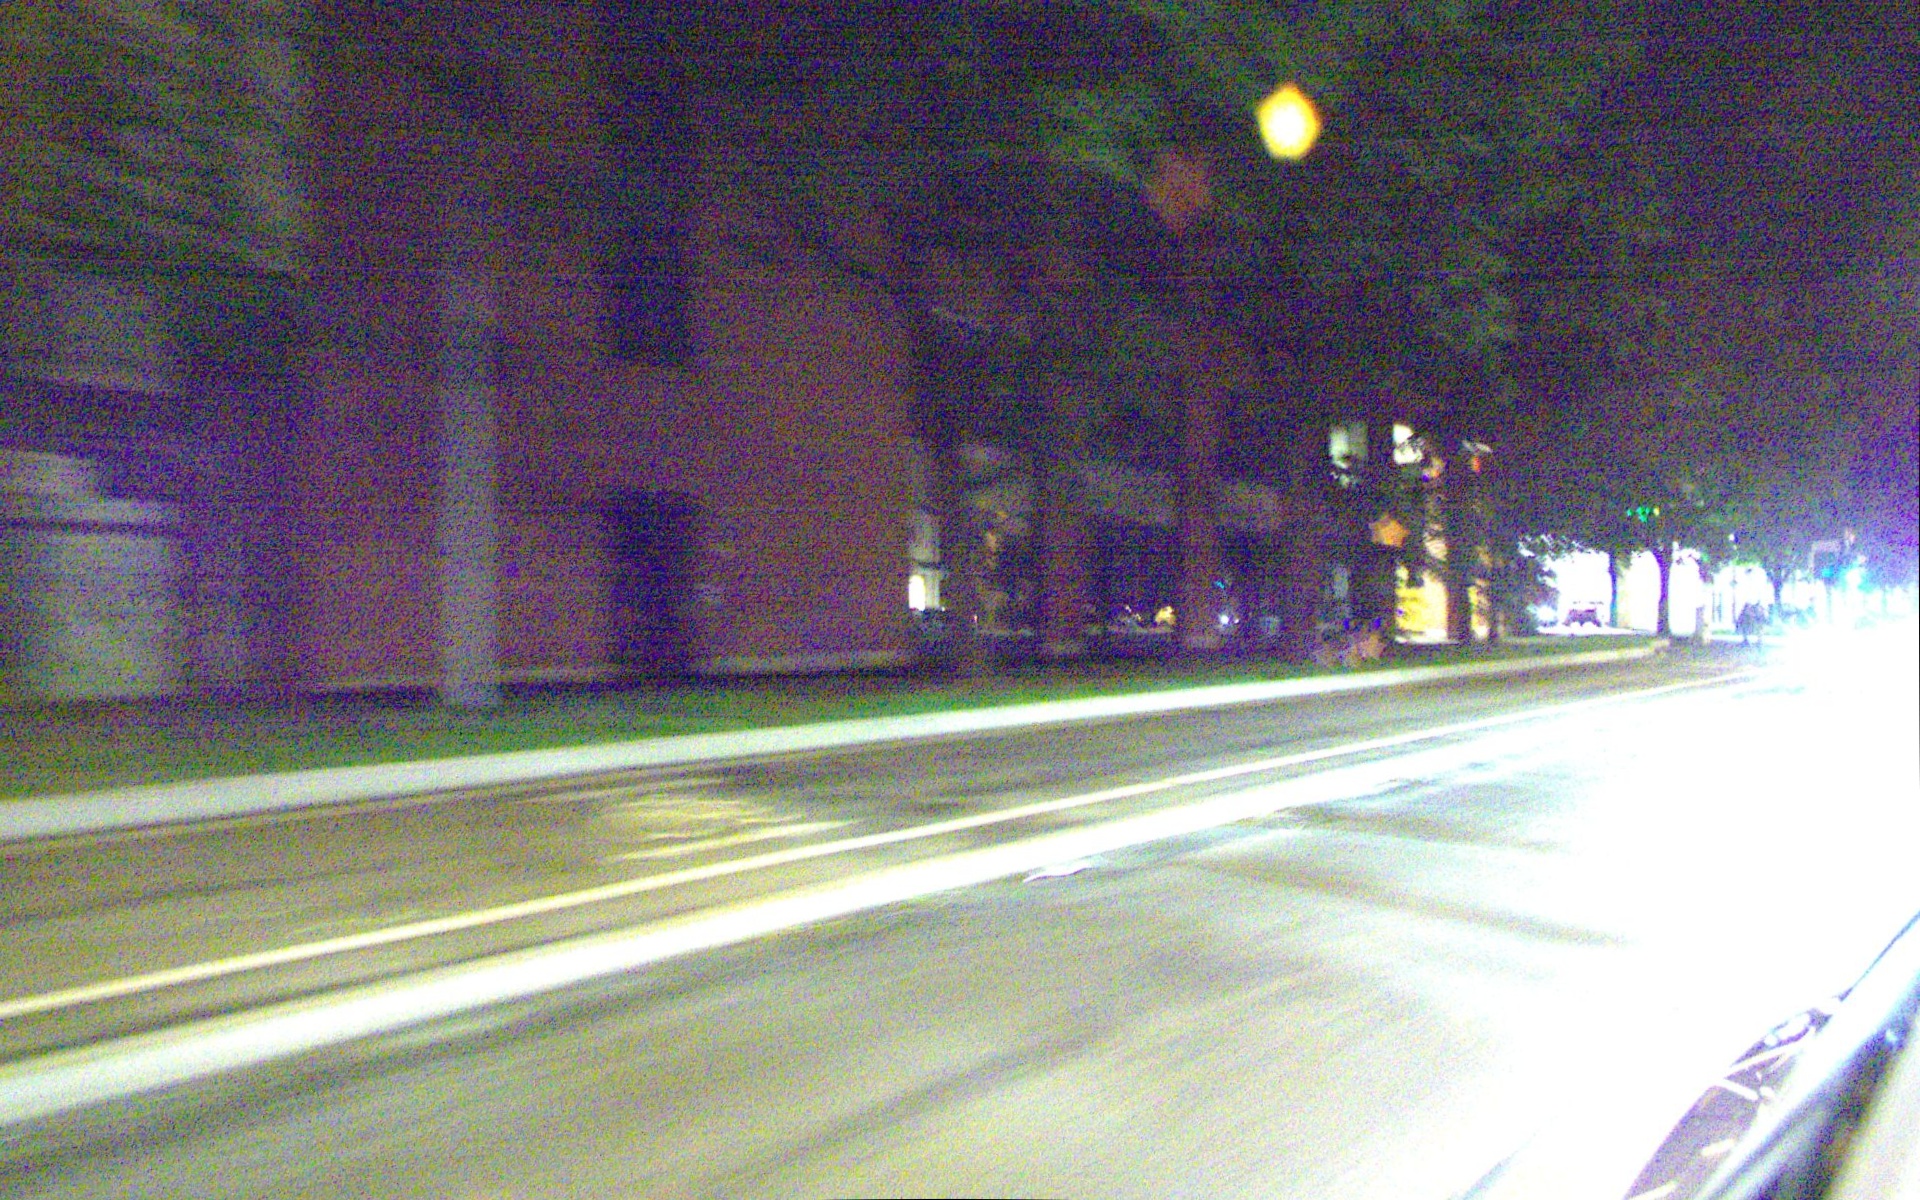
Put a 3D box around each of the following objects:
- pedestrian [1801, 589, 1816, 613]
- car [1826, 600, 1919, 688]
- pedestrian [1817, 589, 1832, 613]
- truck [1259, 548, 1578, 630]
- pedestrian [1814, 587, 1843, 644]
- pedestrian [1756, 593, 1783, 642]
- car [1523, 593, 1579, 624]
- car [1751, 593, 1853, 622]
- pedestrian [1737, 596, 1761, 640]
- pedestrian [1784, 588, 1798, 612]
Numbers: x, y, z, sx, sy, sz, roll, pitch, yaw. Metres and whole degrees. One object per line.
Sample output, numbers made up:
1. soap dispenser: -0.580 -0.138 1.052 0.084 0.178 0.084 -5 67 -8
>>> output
1. pedestrian: 63.724 0.047 75.982 0.953 1.811 0.720 0 1 -41
2. car: 17.685 0.745 18.832 4.419 1.448 1.727 0 -1 -41
3. pedestrian: 64.282 0.090 75.236 0.968 1.738 0.736 0 1 -41
4. truck: 25.108 -0.679 57.336 3.077 4.033 16.809 -1 1 -40
5. pedestrian: 28.414 0.481 33.111 0.746 1.834 0.623 0 0 -40
6. pedestrian: 27.968 0.603 34.969 0.667 1.659 0.622 0 0 -40
7. car: 33.861 0.453 57.944 3.932 1.616 1.729 -1 2 -43
8. car: 45.921 0.389 55.270 1.756 1.472 4.088 -1 1 -41
9. pedestrian: 28.443 0.640 36.474 0.622 1.553 0.573 0 0 -40
10. pedestrian: 63.090 0.005 76.838 0.890 1.839 0.675 0 1 -41
